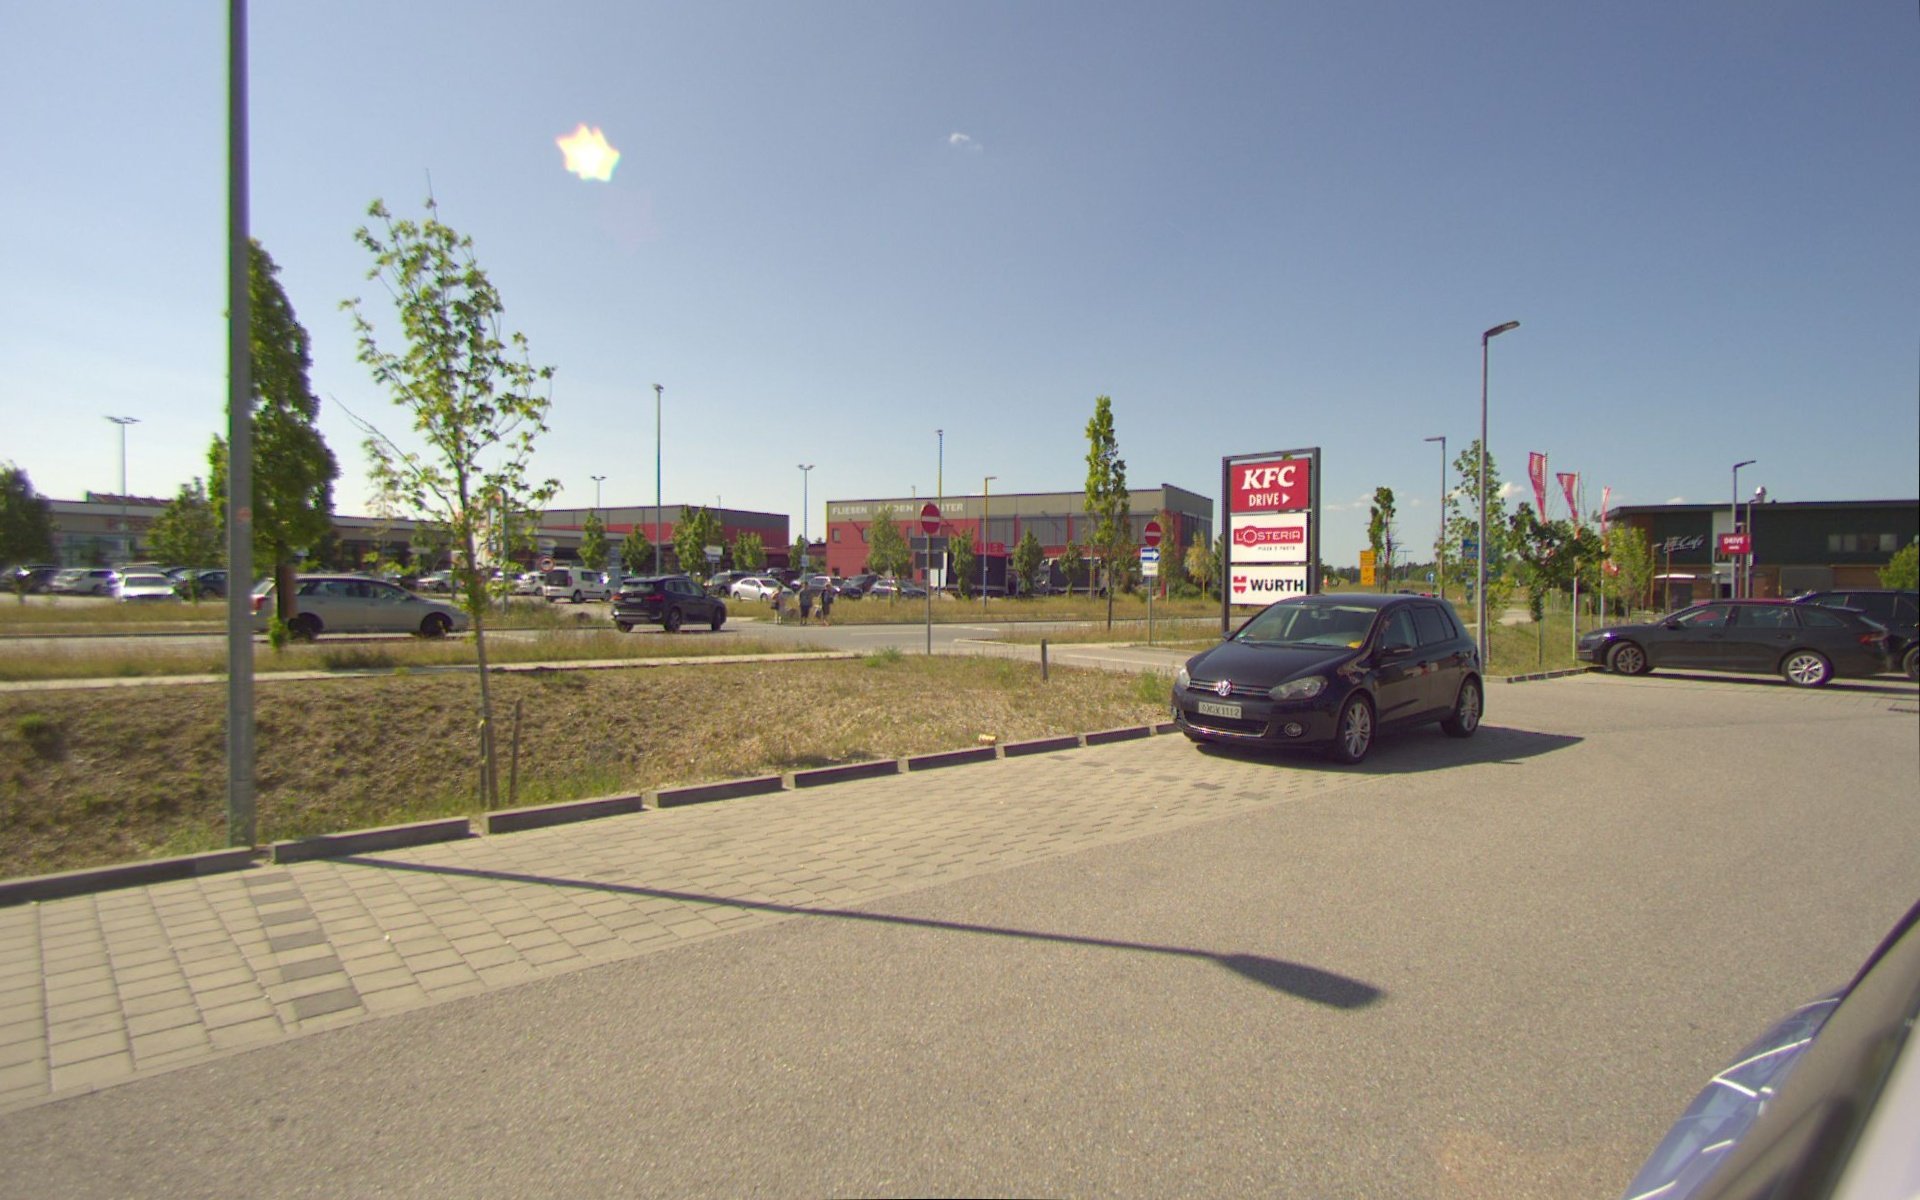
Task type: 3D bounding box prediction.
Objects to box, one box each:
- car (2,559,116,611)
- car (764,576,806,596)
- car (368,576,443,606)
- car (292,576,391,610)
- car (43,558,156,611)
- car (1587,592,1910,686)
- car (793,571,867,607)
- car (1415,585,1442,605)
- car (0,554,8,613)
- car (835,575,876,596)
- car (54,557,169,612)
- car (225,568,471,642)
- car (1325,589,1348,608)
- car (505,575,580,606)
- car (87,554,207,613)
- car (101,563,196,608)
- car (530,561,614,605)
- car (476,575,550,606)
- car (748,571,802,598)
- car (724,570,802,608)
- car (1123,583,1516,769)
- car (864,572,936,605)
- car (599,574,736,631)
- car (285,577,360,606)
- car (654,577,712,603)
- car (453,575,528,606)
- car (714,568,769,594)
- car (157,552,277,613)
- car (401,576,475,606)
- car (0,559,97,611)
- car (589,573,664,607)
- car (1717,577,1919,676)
[{"bbox_3d":[-51.074,-0.846,57.443,1.981,2.857,4.441,0,0,28],"label":"car"},{"bbox_3d":[-17.845,-1.442,103.642,1.981,2.063,4.441,0,0,28],"label":"car"},{"bbox_3d":[-40.321,-0.651,73.668,1.981,2.063,4.441,0,0,28],"label":"car"},{"bbox_3d":[-33.990,-0.374,55.696,1.981,1.807,4.274,0,0,28],"label":"car"},{"bbox_3d":[-48.360,-0.852,56.961,1.981,2.857,4.441,0,0,28],"label":"car"},{"bbox_3d":[14.369,0.611,18.624,4.519,1.477,1.969,1,1,44],"label":"car"},{"bbox_3d":[-7.837,-0.660,60.822,4.463,2.063,1.971,0,0,40],"label":"car"},{"bbox_3d":[37.941,-0.422,82.081,1.808,1.560,3.970,0,1,23],"label":"car"},{"bbox_3d":[-47.646,-0.761,47.300,1.964,2.857,4.481,0,0,3],"label":"car"},{"bbox_3d":[-10.267,-1.434,99.608,1.981,2.063,4.441,0,0,28],"label":"car"},{"bbox_3d":[-46.072,-0.843,55.057,1.981,2.857,4.441,0,0,28],"label":"car"},{"bbox_3d":[-14.206,0.080,23.642,4.677,1.571,1.944,-1,0,-41],"label":"car"},{"bbox_3d":[31.968,-0.143,86.072,1.806,1.561,3.973,0,0,20],"label":"car"},{"bbox_3d":[-28.102,-0.649,68.284,1.981,2.063,4.441,0,0,28],"label":"car"},{"bbox_3d":[-41.802,-0.832,52.137,1.976,2.857,4.452,0,0,22],"label":"car"},{"bbox_3d":[-52.999,-0.923,66.170,1.981,2.857,4.441,0,0,28],"label":"car"},{"bbox_3d":[-20.668,-0.892,54.078,1.971,2.214,4.463,0,0,15],"label":"car"},{"bbox_3d":[-30.624,-0.650,69.426,1.981,2.063,4.441,0,0,28],"label":"car"},{"bbox_3d":[-14.823,-1.238,81.386,1.981,2.063,4.441,0,0,28],"label":"car"},{"bbox_3d":[-11.130,-0.611,57.141,4.463,2.063,1.971,0,0,40],"label":"car"},{"bbox_3d":[3.765,0.587,10.232,4.287,1.484,1.876,0,1,-41],"label":"car"},{"bbox_3d":[-3.850,-0.714,64.628,4.463,2.063,1.971,0,0,40],"label":"car"},{"bbox_3d":[-8.751,0.047,30.746,1.918,1.571,4.741,0,0,14],"label":"car"},{"bbox_3d":[-47.942,-0.644,76.158,1.981,2.063,4.441,0,0,28],"label":"car"},{"bbox_3d":[-22.100,-0.796,80.834,1.981,2.063,4.441,0,0,28],"label":"car"},{"bbox_3d":[-32.708,-0.653,70.608,1.981,2.063,4.441,0,0,28],"label":"car"},{"bbox_3d":[-17.715,-1.494,82.292,1.981,2.063,4.441,0,0,28],"label":"car"},{"bbox_3d":[-36.727,-0.834,50.134,1.976,2.857,4.452,0,0,22],"label":"car"},{"bbox_3d":[-37.419,-0.653,72.652,1.981,2.063,4.441,0,0,28],"label":"car"},{"bbox_3d":[-53.033,-0.847,58.441,1.981,2.857,4.441,0,0,28],"label":"car"},{"bbox_3d":[-21.100,-0.639,64.268,1.981,2.063,4.441,0,0,28],"label":"car"},{"bbox_3d":[18.310,0.480,20.379,1.963,1.858,4.533,0,1,-36],"label":"car"}]
